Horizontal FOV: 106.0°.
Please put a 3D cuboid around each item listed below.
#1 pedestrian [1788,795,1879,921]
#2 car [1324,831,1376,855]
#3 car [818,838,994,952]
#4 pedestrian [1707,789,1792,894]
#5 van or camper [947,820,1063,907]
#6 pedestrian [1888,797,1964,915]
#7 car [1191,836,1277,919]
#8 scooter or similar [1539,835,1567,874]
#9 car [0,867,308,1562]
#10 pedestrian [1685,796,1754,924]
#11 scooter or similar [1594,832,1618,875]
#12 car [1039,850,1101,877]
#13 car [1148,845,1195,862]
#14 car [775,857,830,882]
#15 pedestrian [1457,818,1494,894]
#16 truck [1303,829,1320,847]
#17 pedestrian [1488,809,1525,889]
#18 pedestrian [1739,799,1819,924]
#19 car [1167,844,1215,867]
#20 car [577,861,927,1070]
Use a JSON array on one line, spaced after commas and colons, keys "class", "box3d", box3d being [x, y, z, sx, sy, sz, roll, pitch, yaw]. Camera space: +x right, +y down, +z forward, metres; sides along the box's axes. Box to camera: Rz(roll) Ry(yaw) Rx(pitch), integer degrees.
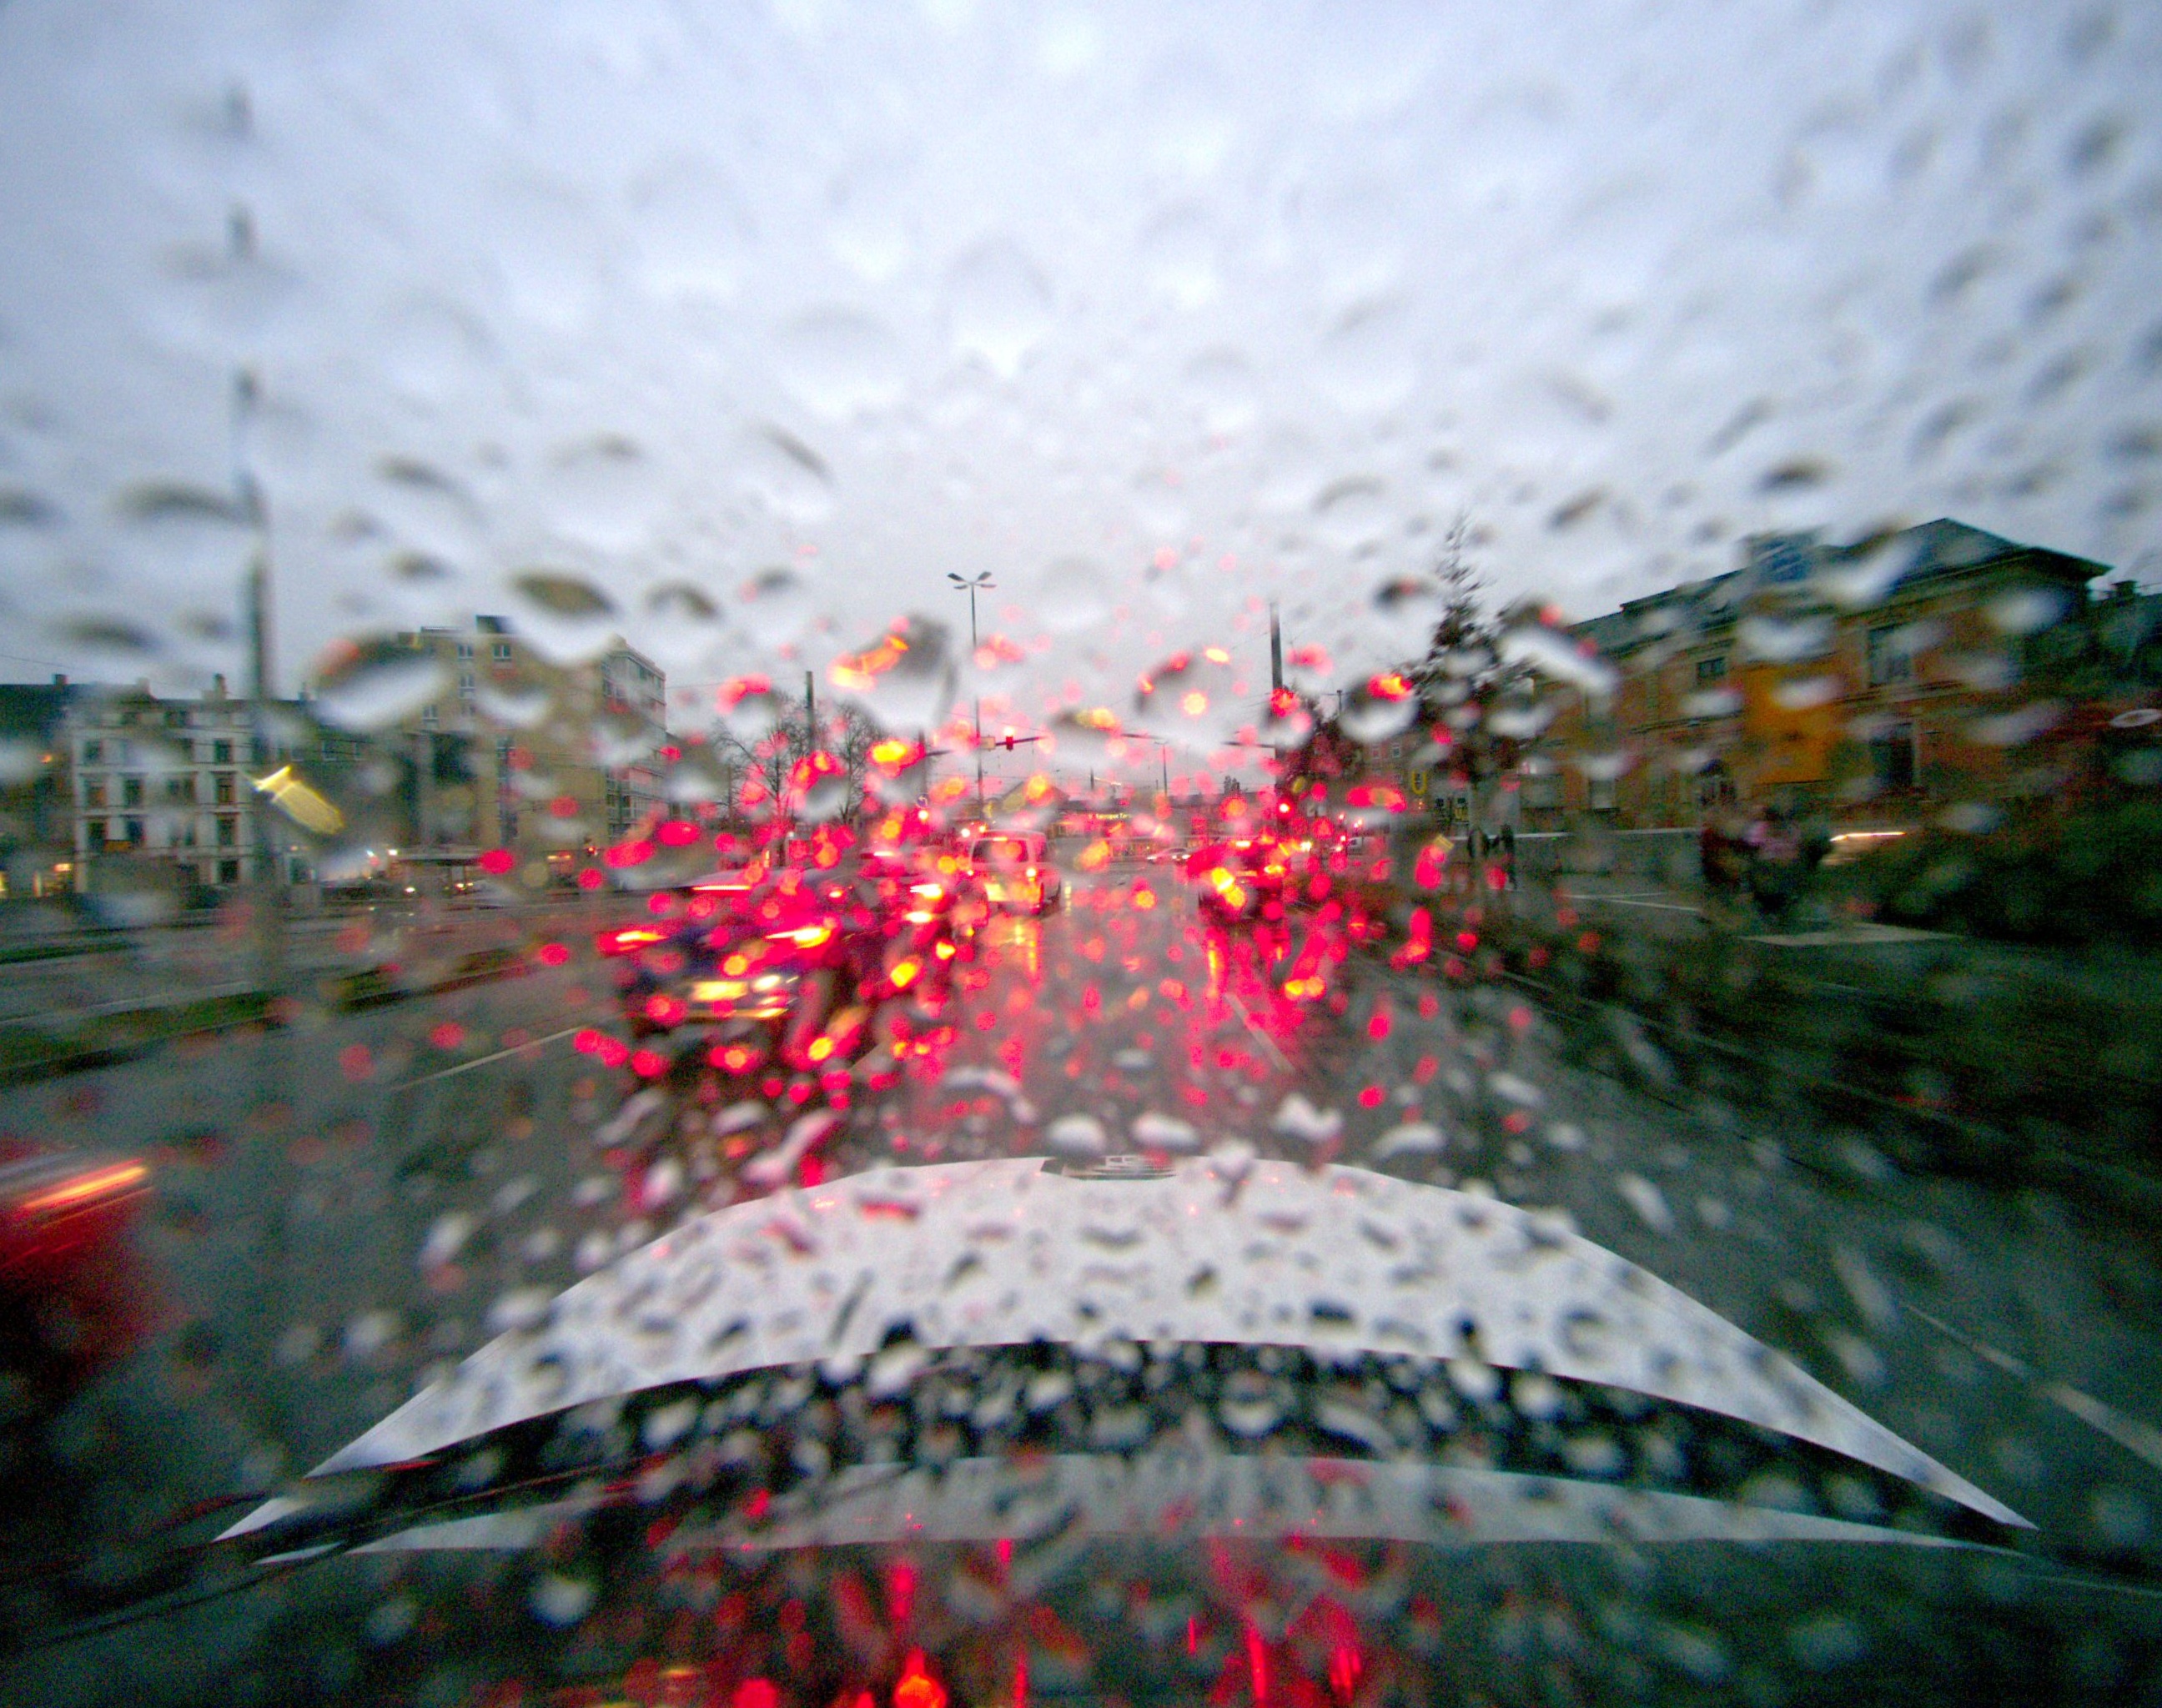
[{"class": "pedestrian", "box3d": [10.538, 0.062, 11.441, 0.711, 1.687, 0.765, -3, 0, 28]}, {"class": "car", "box3d": [25.228, -0.991, 76.476, 4.376, 2.013, 1.917, -3, 0, 10]}, {"class": "car", "box3d": [-2.727, 0.577, 13.813, 1.778, 1.600, 4.545, 0, 0, 3]}, {"class": "pedestrian", "box3d": [11.827, -0.216, 14.433, 0.852, 1.791, 0.745, -2, 0, -14]}, {"class": "van or camper", "box3d": [-1.929, 0.235, 22.503, 2.190, 2.109, 4.996, -1, 0, 6]}, {"class": "pedestrian", "box3d": [13.295, 0.027, 12.828, 0.582, 1.791, 0.557, -2, 0, -13]}, {"class": "car", "box3d": [3.653, 0.495, 20.069, 1.768, 1.800, 4.433, -1, 1, 7]}, {"class": "scooter or similar", "box3d": [15.191, -0.002, 26.193, 0.507, 1.213, 1.392, -3, 0, 40]}, {"class": "car", "box3d": [-3.167, 0.787, 0.493, 1.695, 1.482, 3.870, 1, 0, -1]}, {"class": "pedestrian", "box3d": [9.295, 0.090, 11.883, 0.578, 1.781, 0.774, -4, -1, 29]}, {"class": "scooter or similar", "box3d": [15.569, -0.030, 24.153, 0.507, 1.213, 1.392, -3, 0, 31]}, {"class": "car", "box3d": [-0.690, 0.611, 53.323, 1.974, 1.514, 4.026, -3, 0, 37]}, {"class": "car", "box3d": [7.953, -0.049, 71.644, 3.798, 1.366, 1.848, -3, 0, -5]}, {"class": "car", "box3d": [-22.181, 1.189, 64.963, 3.996, 1.772, 1.989, -3, 0, -16]}, {"class": "pedestrian", "box3d": [10.258, 0.045, 21.151, 0.800, 1.929, 0.765, -1, 3, 29]}, {"class": "truck", "box3d": [36.275, -2.469, 128.101, 1.976, 2.691, 5.143, -3, 0, 22]}, {"class": "pedestrian", "box3d": [11.016, -0.135, 21.085, 0.800, 2.013, 0.765, -1, 3, 29]}, {"class": "pedestrian", "box3d": [9.812, 0.096, 11.473, 0.661, 1.687, 0.616, -4, 1, 29]}, {"class": "car", "box3d": [8.870, 0.108, 65.292, 1.974, 1.602, 4.026, -3, 0, 39]}, {"class": "car", "box3d": [-2.673, 0.791, 7.727, 1.654, 1.404, 4.119, 0, 0, 0]}]
